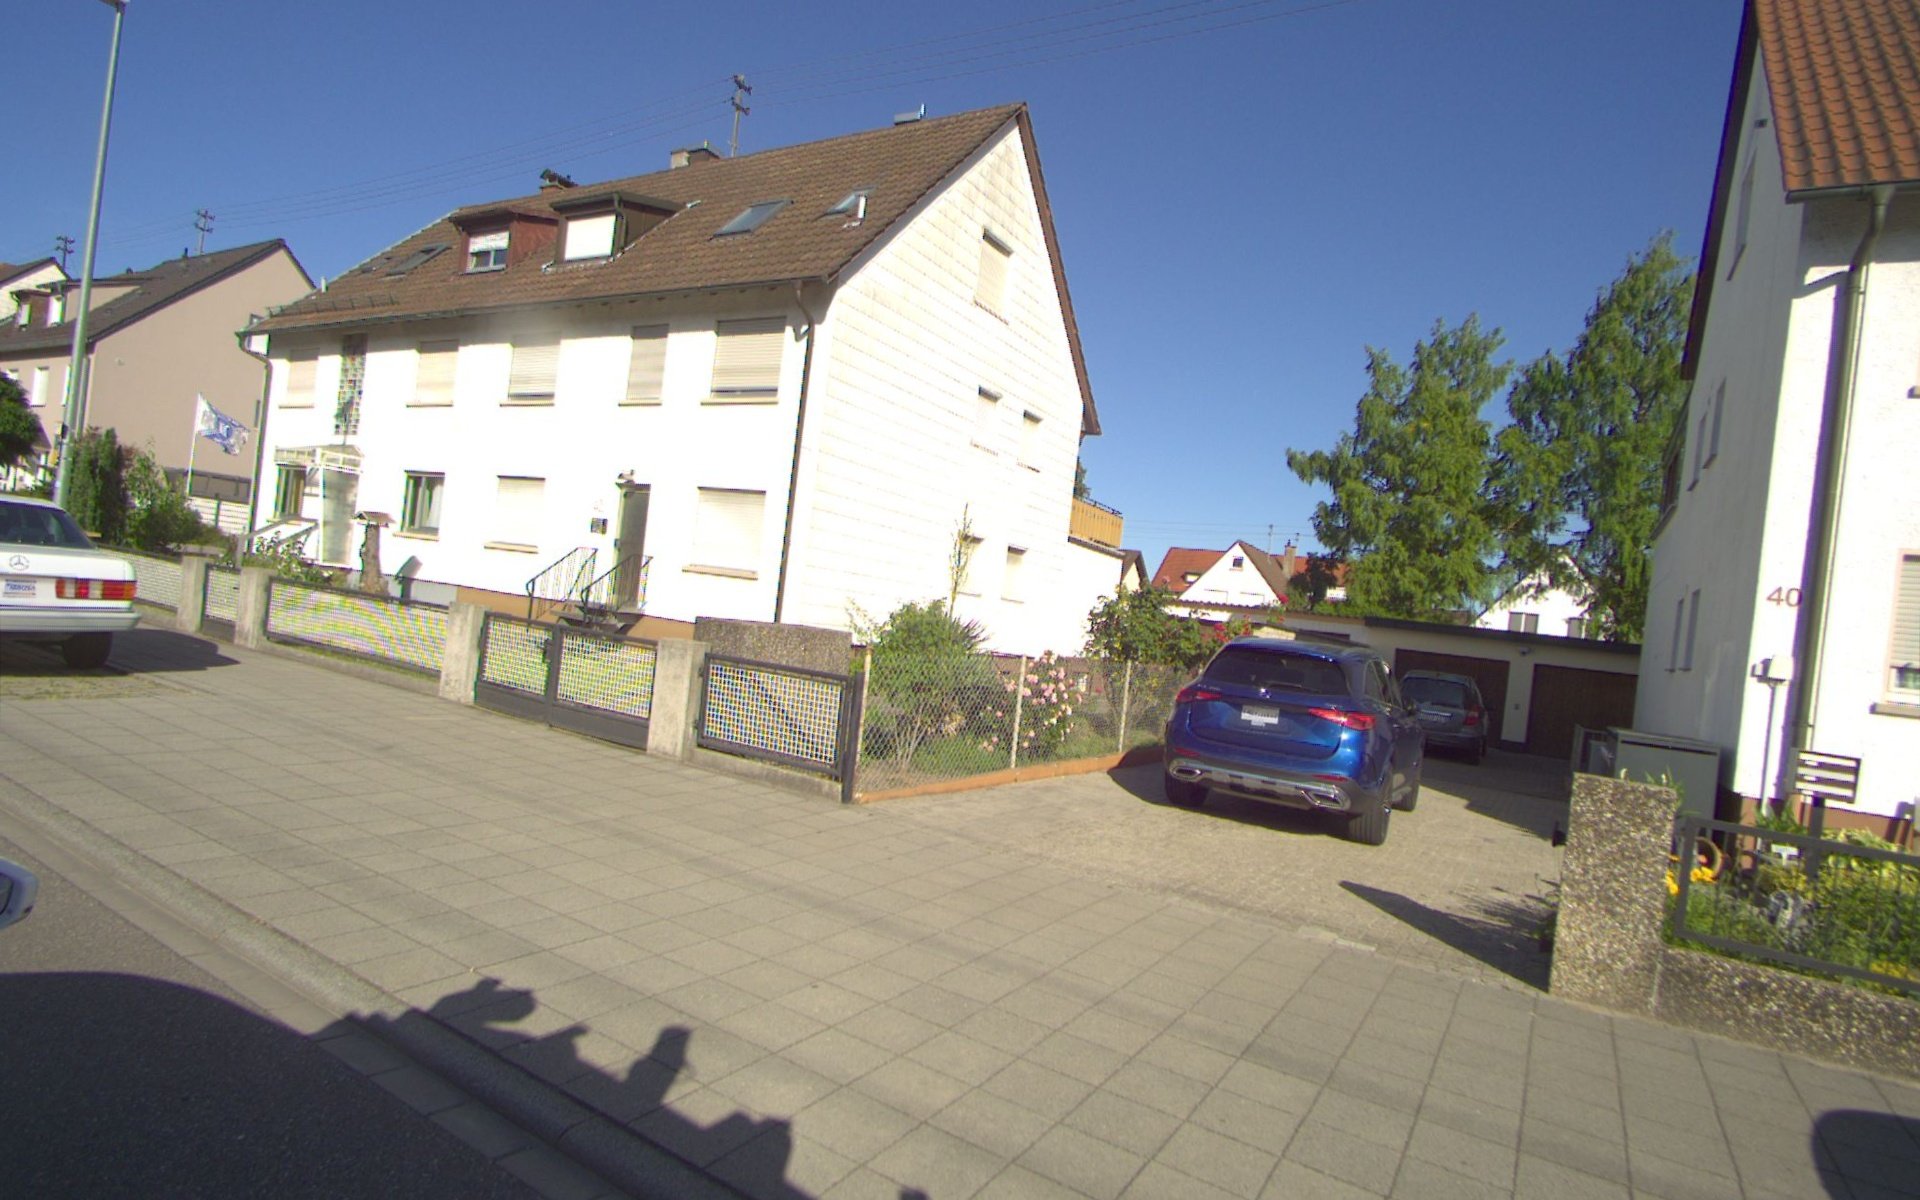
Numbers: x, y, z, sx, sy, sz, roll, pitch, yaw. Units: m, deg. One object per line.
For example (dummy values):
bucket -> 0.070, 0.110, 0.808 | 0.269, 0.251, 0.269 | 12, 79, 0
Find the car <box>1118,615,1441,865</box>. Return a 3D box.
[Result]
car -> 3.424, 1.246, 10.060 | 2.159, 1.674, 4.425 | 6, -2, 28

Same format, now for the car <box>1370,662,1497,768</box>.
car -> 9.407, 2.200, 19.818 | 1.783, 1.638, 3.819 | 7, -1, 31

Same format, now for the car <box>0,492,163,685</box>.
car -> -9.659, -0.333, 9.352 | 5.522, 1.462, 1.853 | 7, 1, 33
